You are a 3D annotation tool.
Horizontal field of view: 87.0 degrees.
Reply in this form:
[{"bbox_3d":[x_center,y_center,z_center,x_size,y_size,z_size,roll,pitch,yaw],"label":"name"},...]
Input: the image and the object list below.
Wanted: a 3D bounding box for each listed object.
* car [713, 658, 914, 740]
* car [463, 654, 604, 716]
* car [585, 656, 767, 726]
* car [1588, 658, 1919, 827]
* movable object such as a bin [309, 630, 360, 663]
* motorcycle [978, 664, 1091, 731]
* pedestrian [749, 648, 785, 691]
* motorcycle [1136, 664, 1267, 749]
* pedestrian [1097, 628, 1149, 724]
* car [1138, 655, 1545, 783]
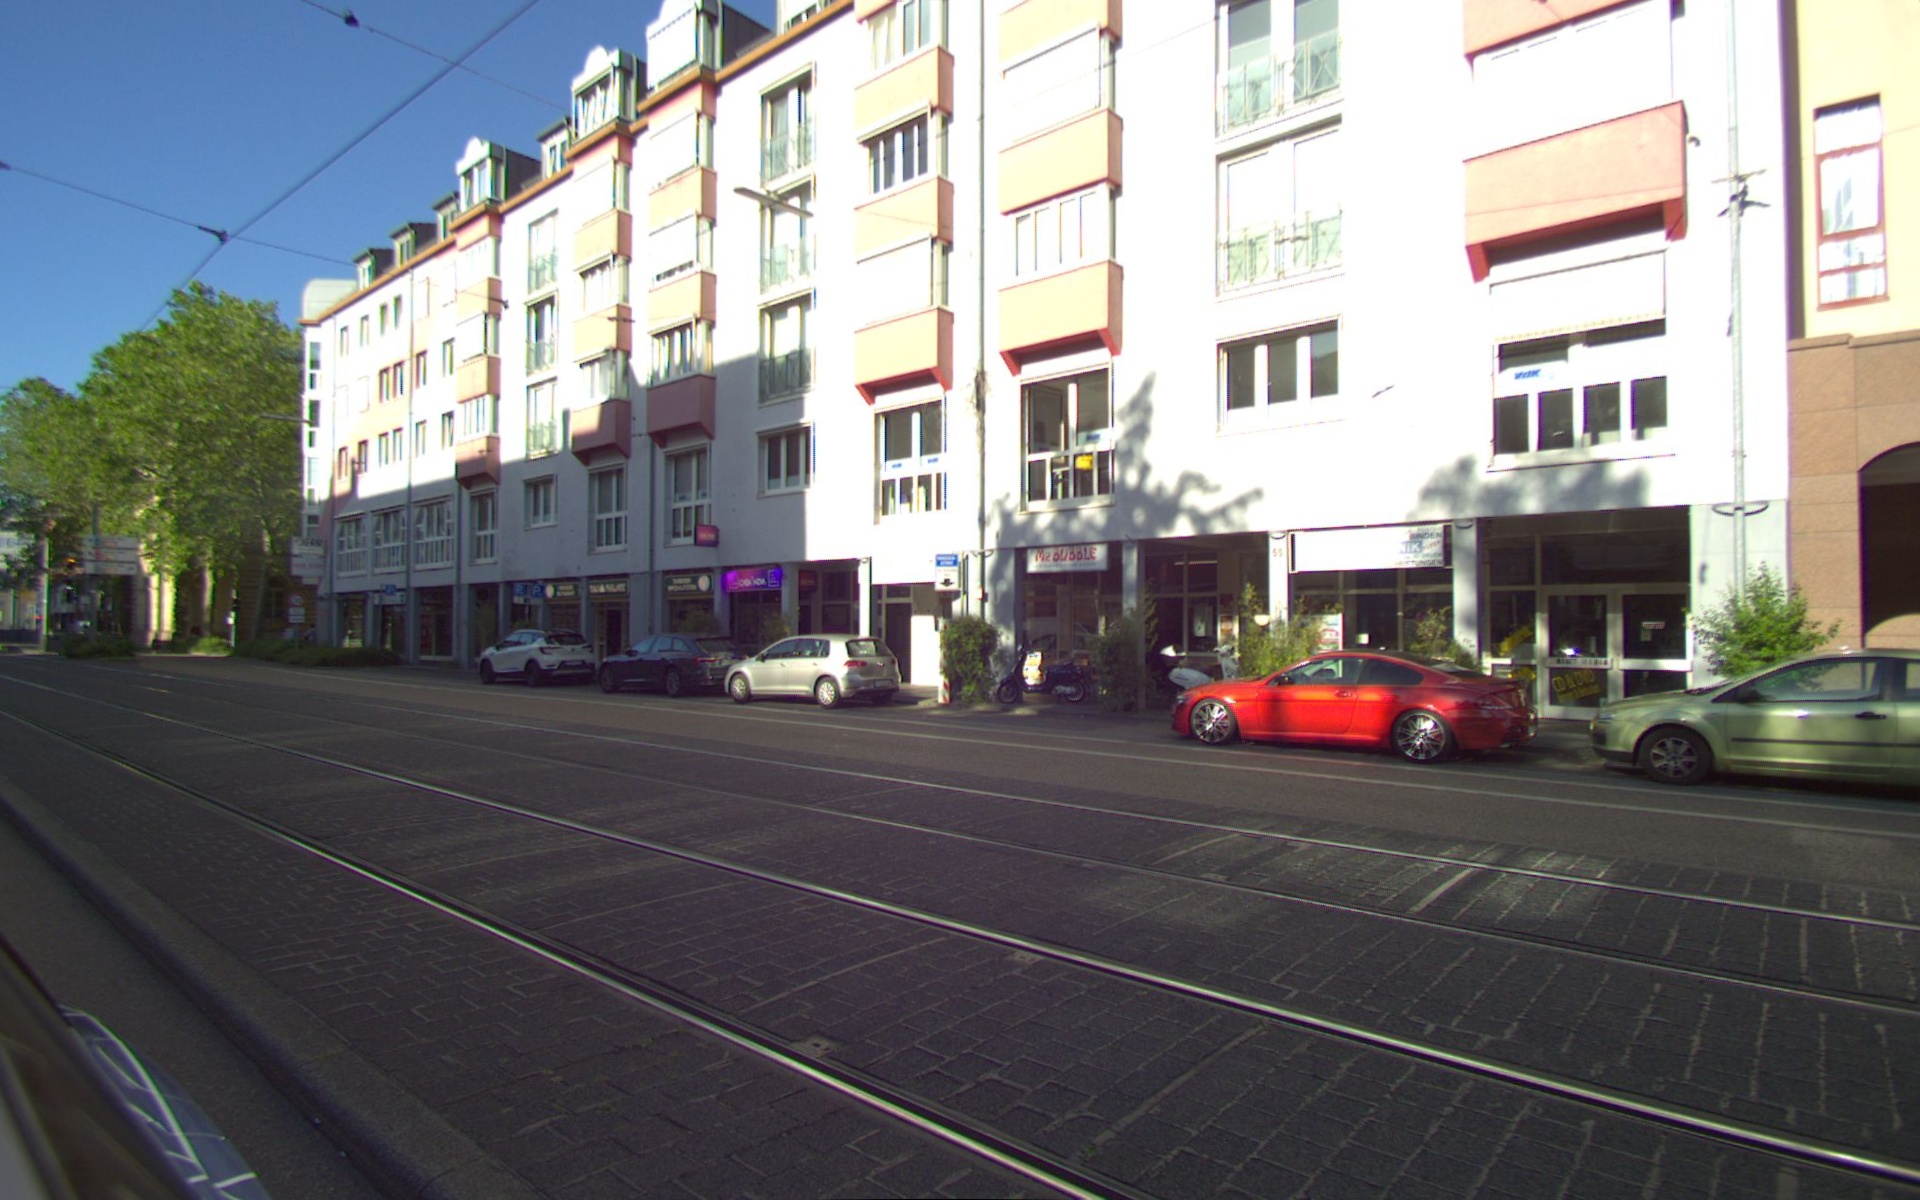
[{"bbox_3d":[-3.117,1.978,21.088,4.202,1.486,1.734,-2,-3,38],"label":"car"},{"bbox_3d":[-12.353,2.390,29.236,4.364,1.626,1.899,-2,-3,38],"label":"car"},{"bbox_3d":[-6.935,2.117,24.447,4.822,1.469,1.882,-2,-3,40],"label":"car"},{"bbox_3d":[9.083,1.384,10.360,4.287,1.479,1.652,-2,-1,41],"label":"car"},{"bbox_3d":[-39.641,2.957,64.215,2.604,2.029,1.179,1,-3,-26],"label":"movable object such as a bin"},{"bbox_3d":[1.404,1.836,19.215,2.068,1.203,0.458,-2,-1,23],"label":"motorcycle"},{"bbox_3d":[-5.485,1.963,28.746,0.779,1.196,0.665,-2,-3,39],"label":"pedestrian"},{"bbox_3d":[3.986,1.738,16.843,2.080,1.307,0.513,-3,-2,40],"label":"motorcycle"},{"bbox_3d":[3.259,1.500,20.190,0.715,1.857,0.813,-3,-2,31],"label":"pedestrian"},{"bbox_3d":[5.048,1.478,13.811,4.816,1.335,1.940,-2,-1,40],"label":"car"}]
